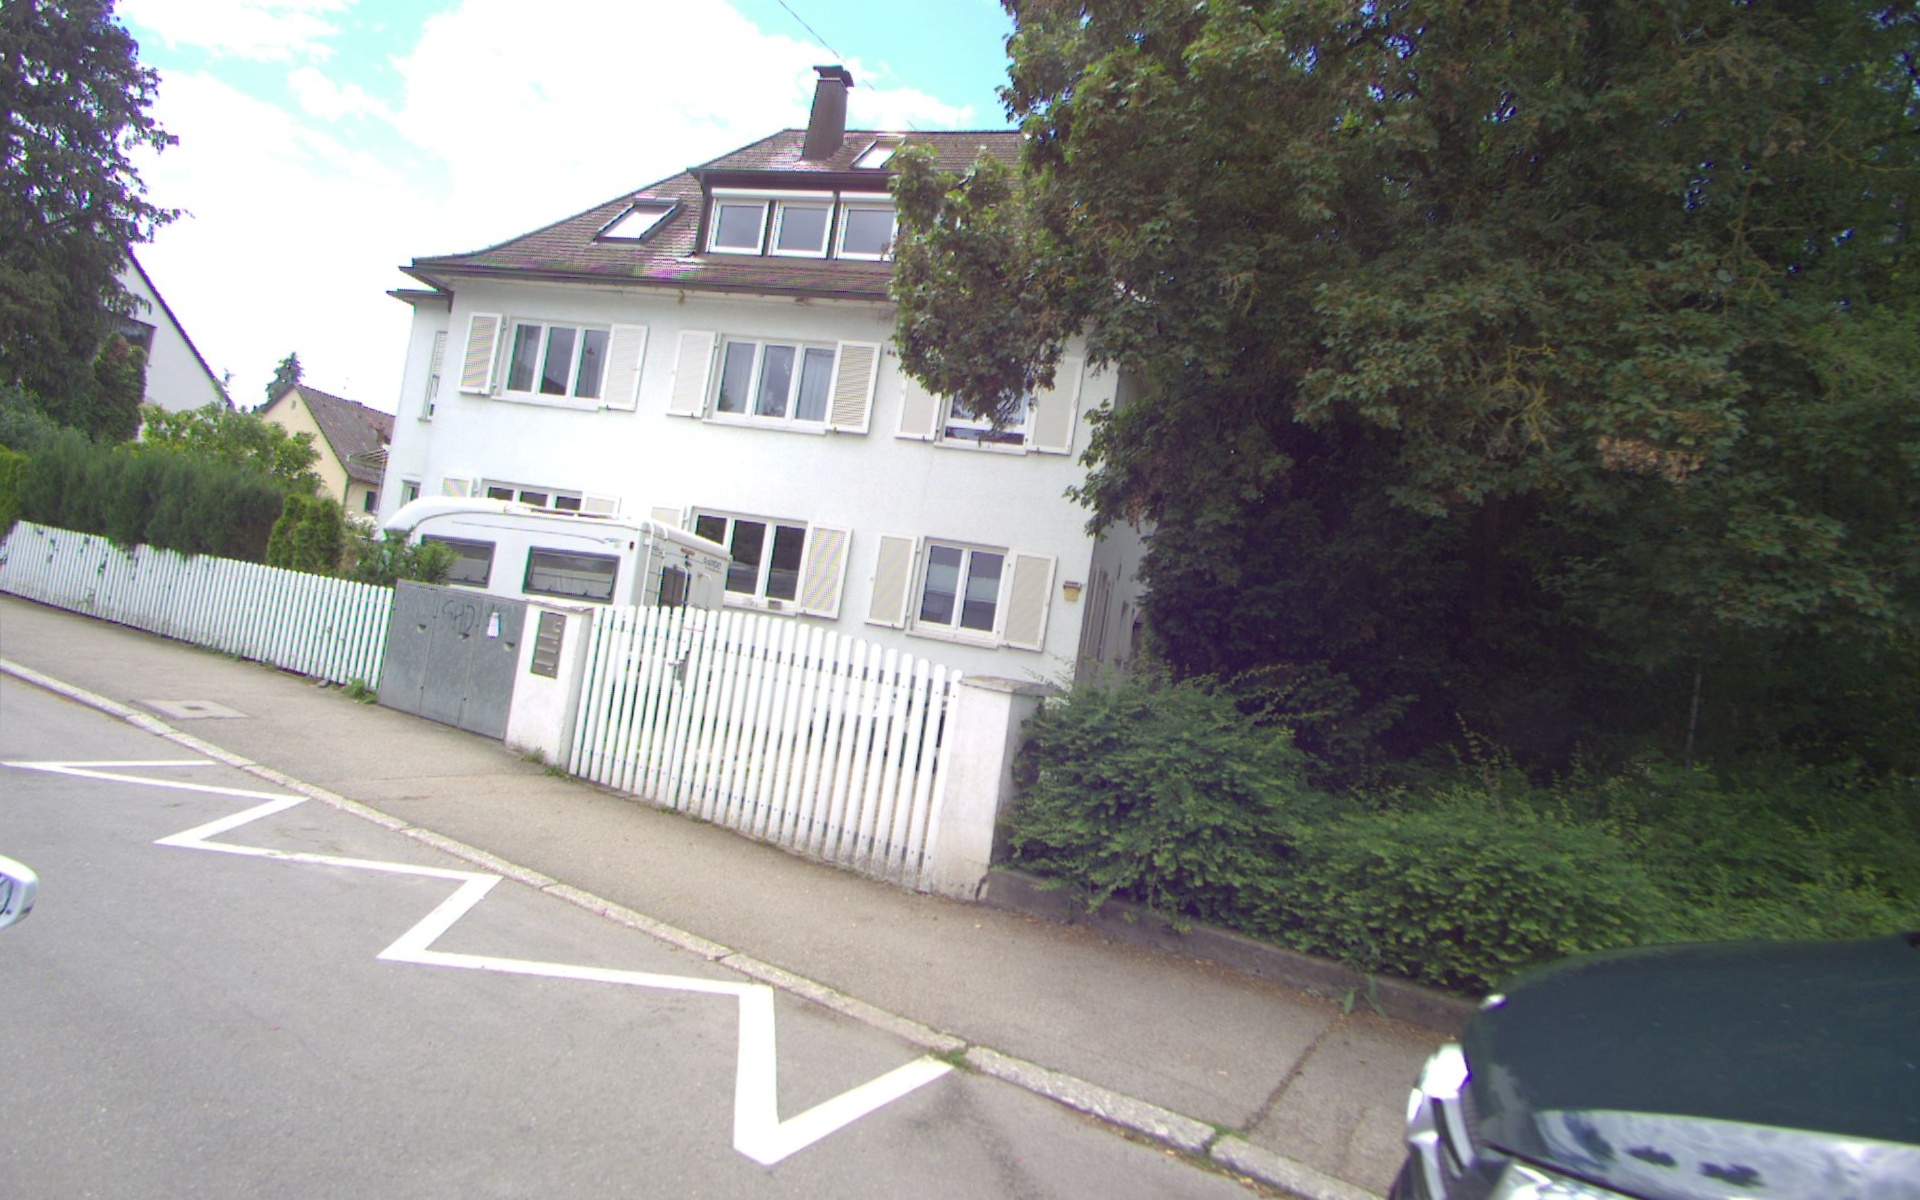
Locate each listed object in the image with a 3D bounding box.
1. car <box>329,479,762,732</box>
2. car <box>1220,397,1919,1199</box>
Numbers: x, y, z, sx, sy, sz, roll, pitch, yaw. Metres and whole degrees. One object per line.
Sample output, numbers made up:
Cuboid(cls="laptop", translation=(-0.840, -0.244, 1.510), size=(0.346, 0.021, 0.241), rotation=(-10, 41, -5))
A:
Cuboid(cls="car", translation=(-5.937, 0.114, 14.615), size=(5.090, 2.708, 2.511), rotation=(8, -4, 20))
Cuboid(cls="car", translation=(2.951, 1.053, 0.728), size=(5.072, 1.868, 1.914), rotation=(7, -3, 31))
